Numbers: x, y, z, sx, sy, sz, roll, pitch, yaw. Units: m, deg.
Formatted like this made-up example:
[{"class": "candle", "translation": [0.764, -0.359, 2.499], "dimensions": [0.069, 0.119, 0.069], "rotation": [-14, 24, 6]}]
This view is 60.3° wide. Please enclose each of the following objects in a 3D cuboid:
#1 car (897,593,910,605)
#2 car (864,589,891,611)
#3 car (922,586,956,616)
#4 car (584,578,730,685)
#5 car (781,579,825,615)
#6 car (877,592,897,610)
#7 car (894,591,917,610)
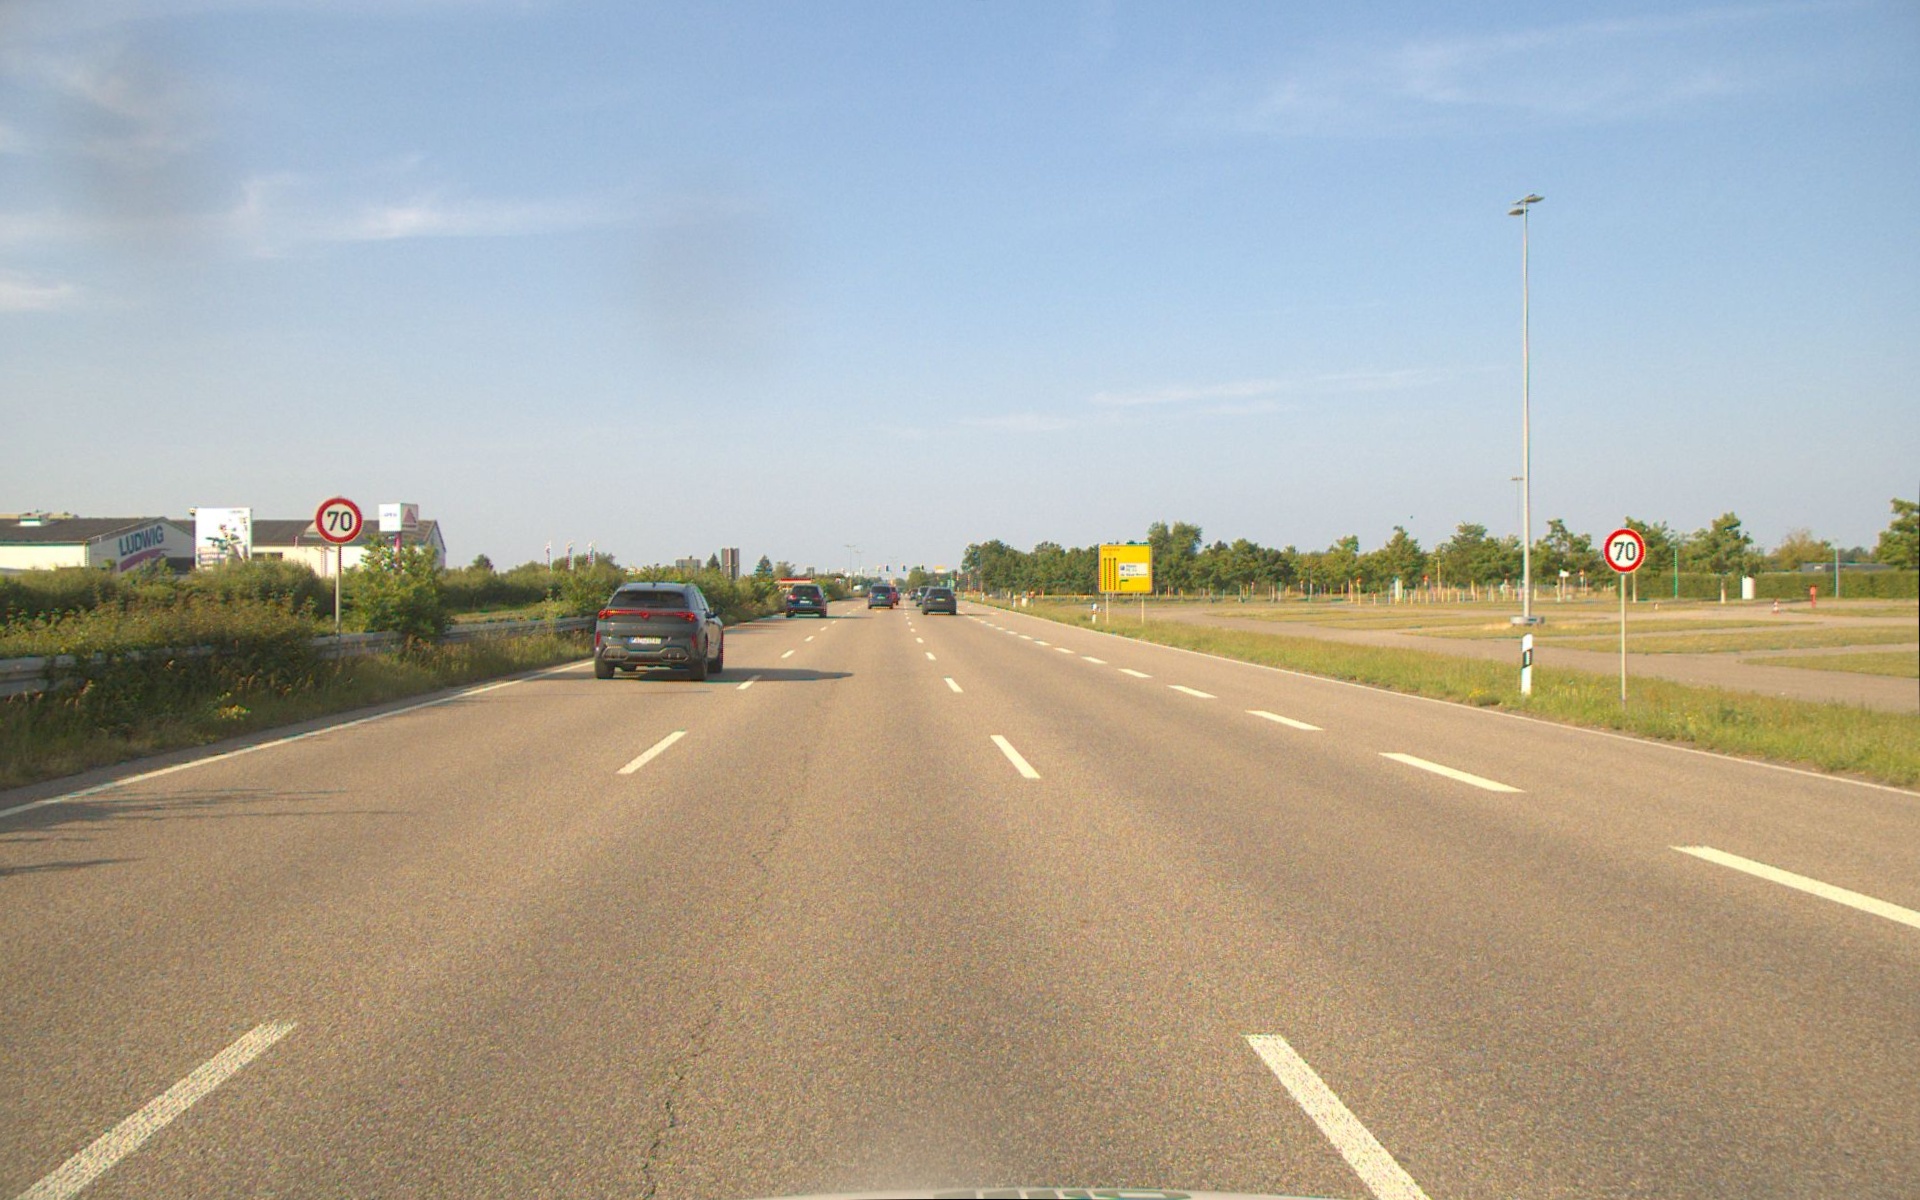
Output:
[{"class": "car", "translation": [-6.920, -0.149, 201.522], "dimensions": [1.473, 1.336, 3.154], "rotation": [2, 0, -2]}, {"class": "car", "translation": [-5.816, 0.007, 116.663], "dimensions": [1.776, 1.488, 4.399], "rotation": [2, 0, -2]}, {"class": "car", "translation": [-1.266, 0.044, 98.269], "dimensions": [1.894, 1.709, 4.399], "rotation": [2, 0, -2]}, {"class": "car", "translation": [-5.130, 0.493, 28.564], "dimensions": [1.809, 1.640, 4.399], "rotation": [2, 0, -2]}, {"class": "car", "translation": [-7.970, -0.176, 84.343], "dimensions": [1.894, 1.709, 4.399], "rotation": [2, 0, -2]}, {"class": "car", "translation": [-6.245, 0.086, 142.007], "dimensions": [1.614, 1.488, 3.979], "rotation": [2, 0, -2]}, {"class": "car", "translation": [-4.440, 0.013, 134.007], "dimensions": [1.836, 1.488, 3.979], "rotation": [2, 0, -2]}]
